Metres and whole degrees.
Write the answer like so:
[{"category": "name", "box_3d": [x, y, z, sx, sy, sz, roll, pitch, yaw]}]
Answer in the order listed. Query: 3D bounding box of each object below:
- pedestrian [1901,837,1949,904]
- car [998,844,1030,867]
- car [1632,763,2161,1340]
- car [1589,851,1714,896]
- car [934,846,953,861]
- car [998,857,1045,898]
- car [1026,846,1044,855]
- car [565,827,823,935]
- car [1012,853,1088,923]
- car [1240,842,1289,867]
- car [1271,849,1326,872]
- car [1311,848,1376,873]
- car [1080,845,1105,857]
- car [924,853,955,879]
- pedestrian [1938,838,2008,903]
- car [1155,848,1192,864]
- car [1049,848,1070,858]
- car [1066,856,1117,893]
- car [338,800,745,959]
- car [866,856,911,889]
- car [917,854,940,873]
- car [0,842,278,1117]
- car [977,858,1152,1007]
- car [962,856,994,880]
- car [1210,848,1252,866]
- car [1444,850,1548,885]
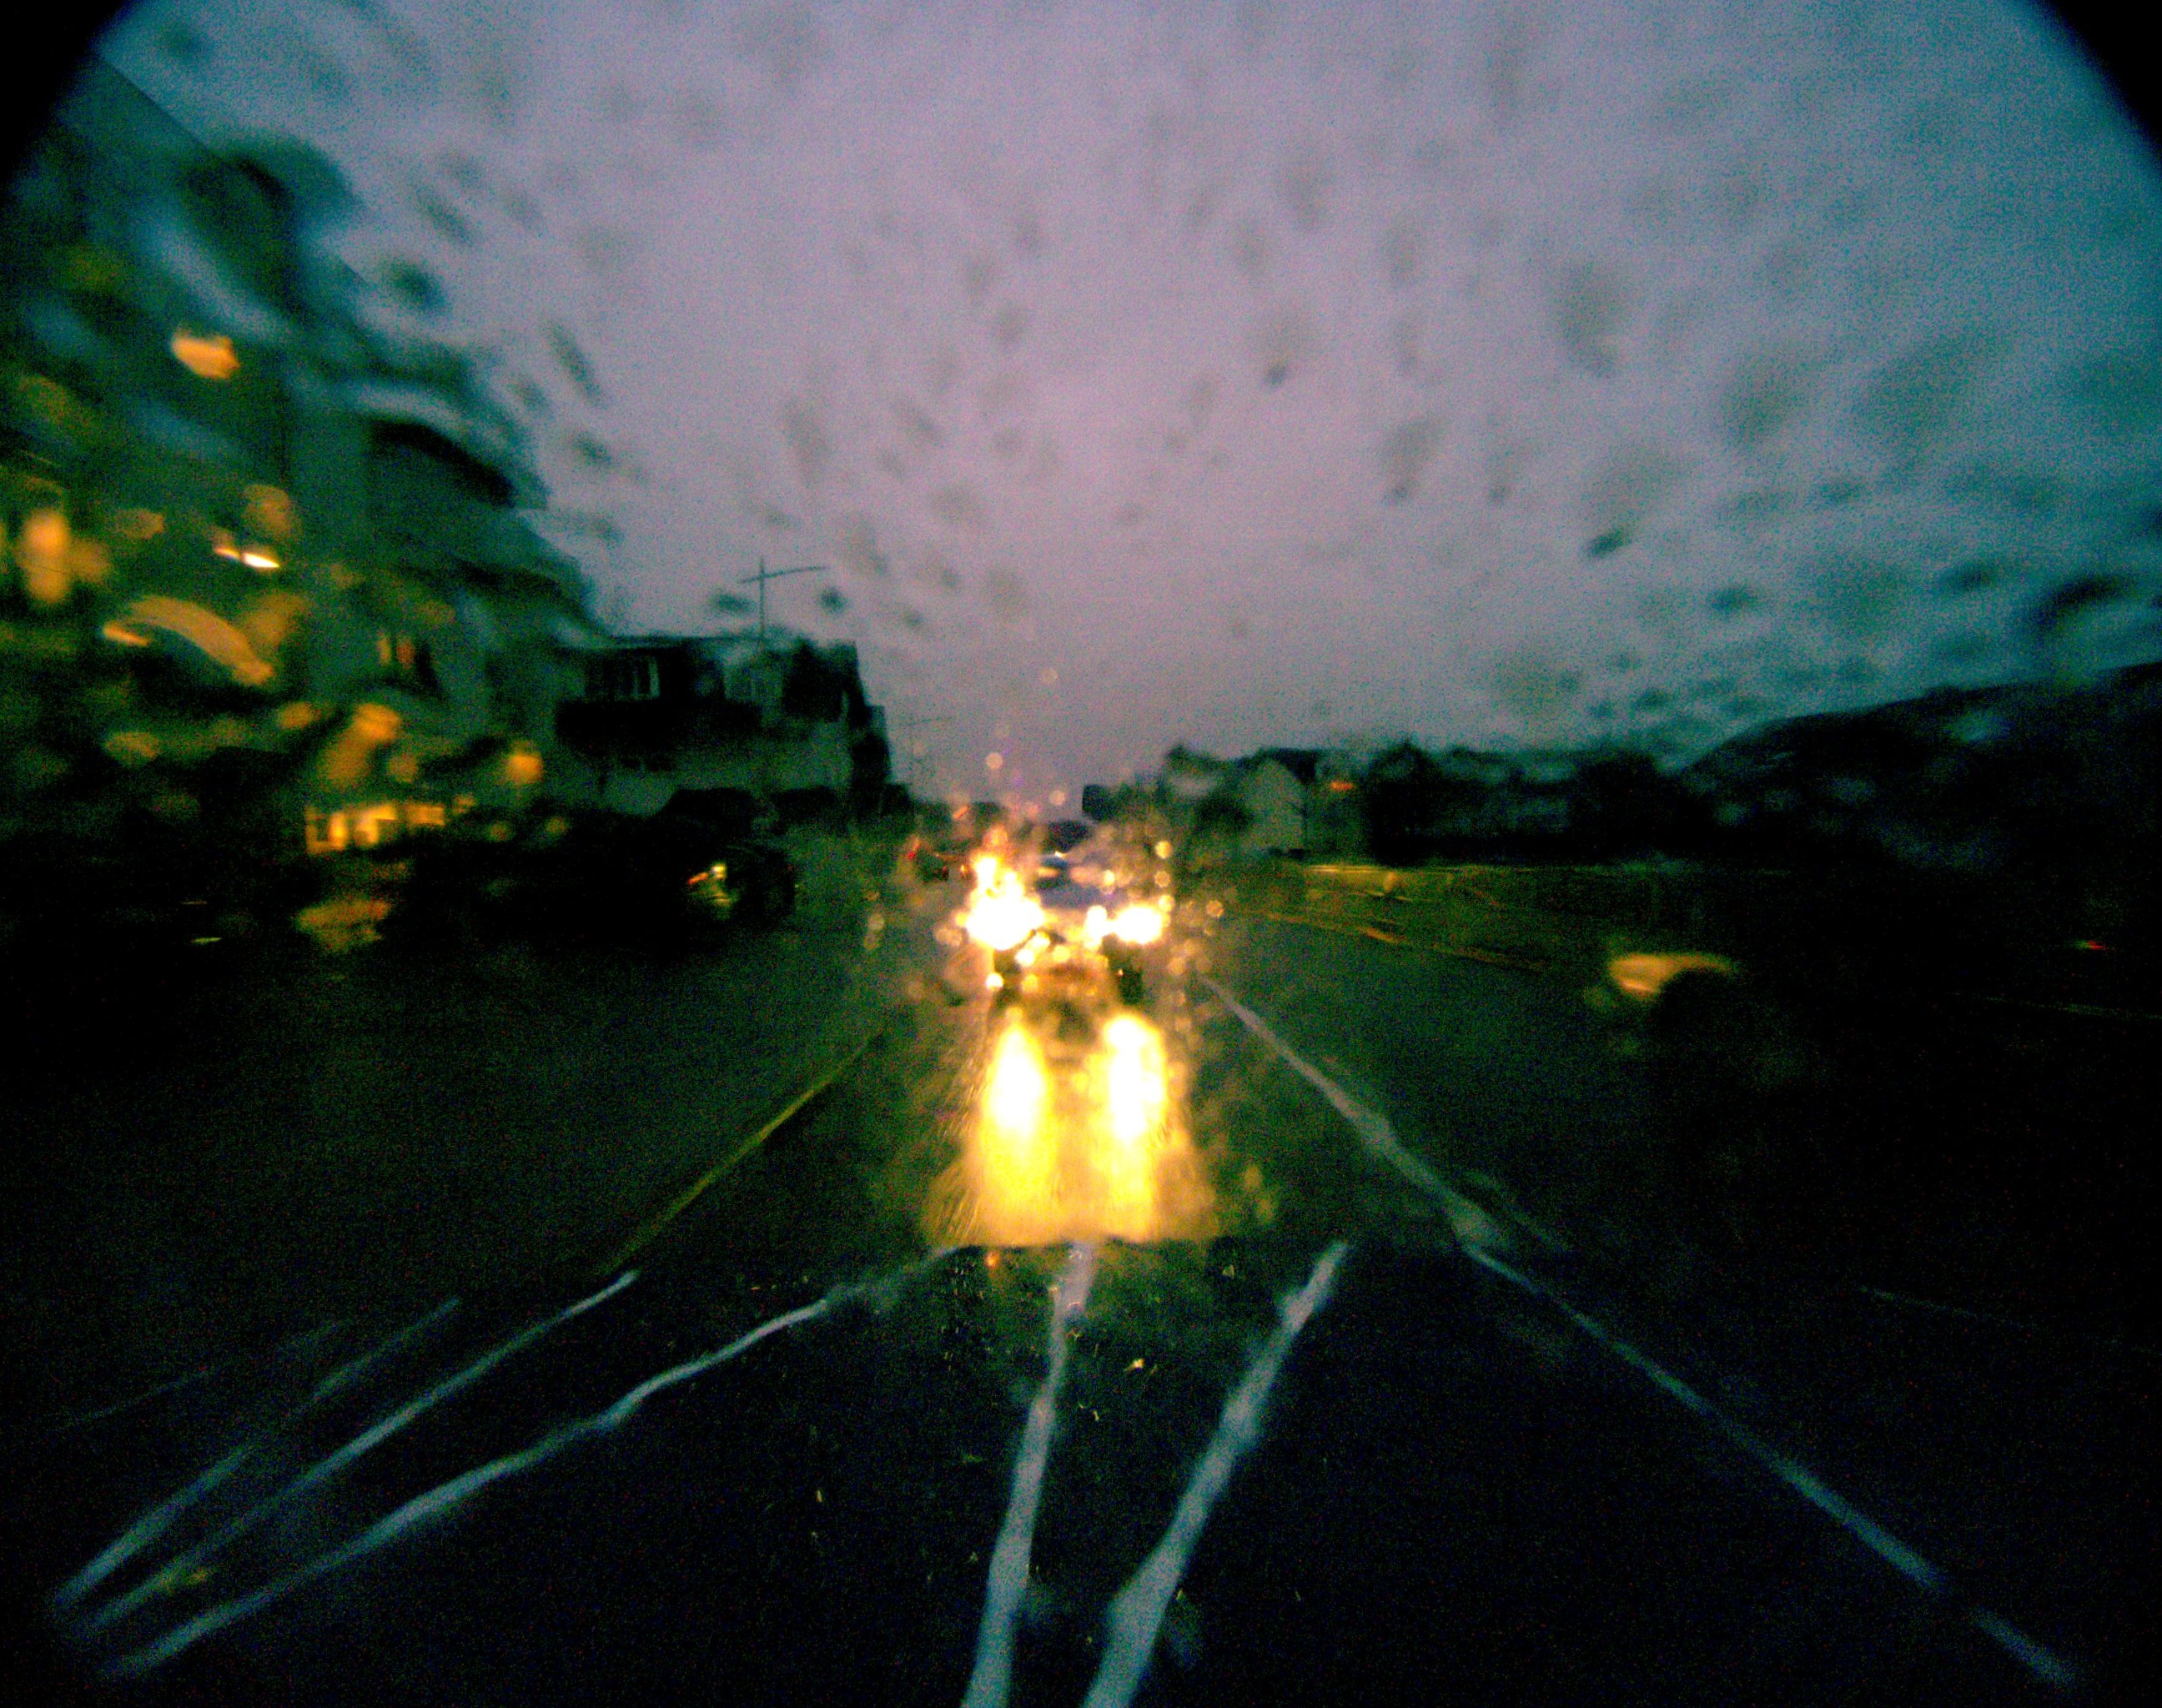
[{"category": "pedestrian", "box_3d": [16.608, 0.319, 14.950, 0.512, 1.294, 0.601, -2, 1, -38]}, {"category": "car", "box_3d": [-6.398, 0.144, 72.100, 2.002, 2.002, 3.993, -2, 1, -20]}, {"category": "car", "box_3d": [4.223, 0.593, 2.361, 1.724, 1.802, 4.134, -2, 0, -6]}, {"category": "car", "box_3d": [20.316, 0.641, 27.247, 1.479, 1.500, 3.500, -1, 1, -11]}, {"category": "car", "box_3d": [-20.181, -0.077, 111.398, 2.002, 2.002, 3.993, -2, 1, -20]}, {"category": "car", "box_3d": [-2.429, 0.885, 30.376, 1.572, 1.460, 3.614, -3, 0, -8]}, {"category": "car", "box_3d": [-7.276, -0.553, 120.268, 1.802, 1.460, 4.250, -1, 1, -19]}, {"category": "car", "box_3d": [-7.560, 0.547, 15.277, 4.153, 1.625, 1.753, 6, -1, -11]}, {"category": "car", "box_3d": [-0.901, 0.837, 20.021, 1.682, 1.614, 3.998, -1, -1, -6]}, {"category": "car", "box_3d": [13.788, -0.003, 57.410, 1.801, 1.816, 4.251, -1, 1, -14]}, {"category": "car", "box_3d": [15.004, 0.428, 52.669, 1.801, 1.460, 4.251, -1, 1, -14]}, {"category": "car", "box_3d": [16.257, 0.387, 47.278, 1.801, 1.460, 4.251, -1, 1, -14]}, {"category": "car", "box_3d": [1.405, -0.422, 96.229, 1.801, 1.460, 4.250, -1, 1, -18]}, {"category": "car", "box_3d": [-9.203, 0.775, 49.477, 1.849, 1.577, 3.766, -1, 0, -9]}, {"category": "pedestrian", "box_3d": [17.537, 0.311, 14.946, 0.693, 1.242, 0.602, -1, 1, -5]}, {"category": "car", "box_3d": [9.033, 0.205, 74.438, 1.801, 1.460, 4.608, -1, 1, -18]}, {"category": "car", "box_3d": [-3.137, -0.170, 108.977, 1.801, 1.460, 4.250, -1, 1, -18]}, {"category": "car", "box_3d": [0.426, 0.909, 35.825, 1.784, 1.612, 3.954, -1, 0, -8]}, {"category": "car", "box_3d": [-7.843, 0.383, 11.487, 4.553, 1.922, 1.974, 4, 0, -4]}, {"category": "car", "box_3d": [-9.259, 0.848, 36.708, 1.778, 1.488, 3.775, 1, -1, -10]}, {"category": "car", "box_3d": [-11.216, 0.677, 55.811, 1.498, 1.283, 3.287, -1, 0, -14]}, {"category": "car", "box_3d": [-8.294, 0.659, 4.547, 4.523, 1.483, 1.973, 1, 1, -9]}, {"category": "car", "box_3d": [-0.274, 0.881, 10.381, 1.888, 1.569, 3.999, -2, 0, -3]}, {"category": "car", "box_3d": [-6.830, 0.890, 50.208, 1.743, 1.434, 3.995, -2, 1, -12]}, {"category": "car", "box_3d": [12.382, 0.270, 62.853, 1.677, 1.460, 4.011, 1, -1, -18]}, {"category": "car", "box_3d": [19.121, 0.577, 35.228, 1.801, 1.460, 4.251, -1, 1, -14]}]
